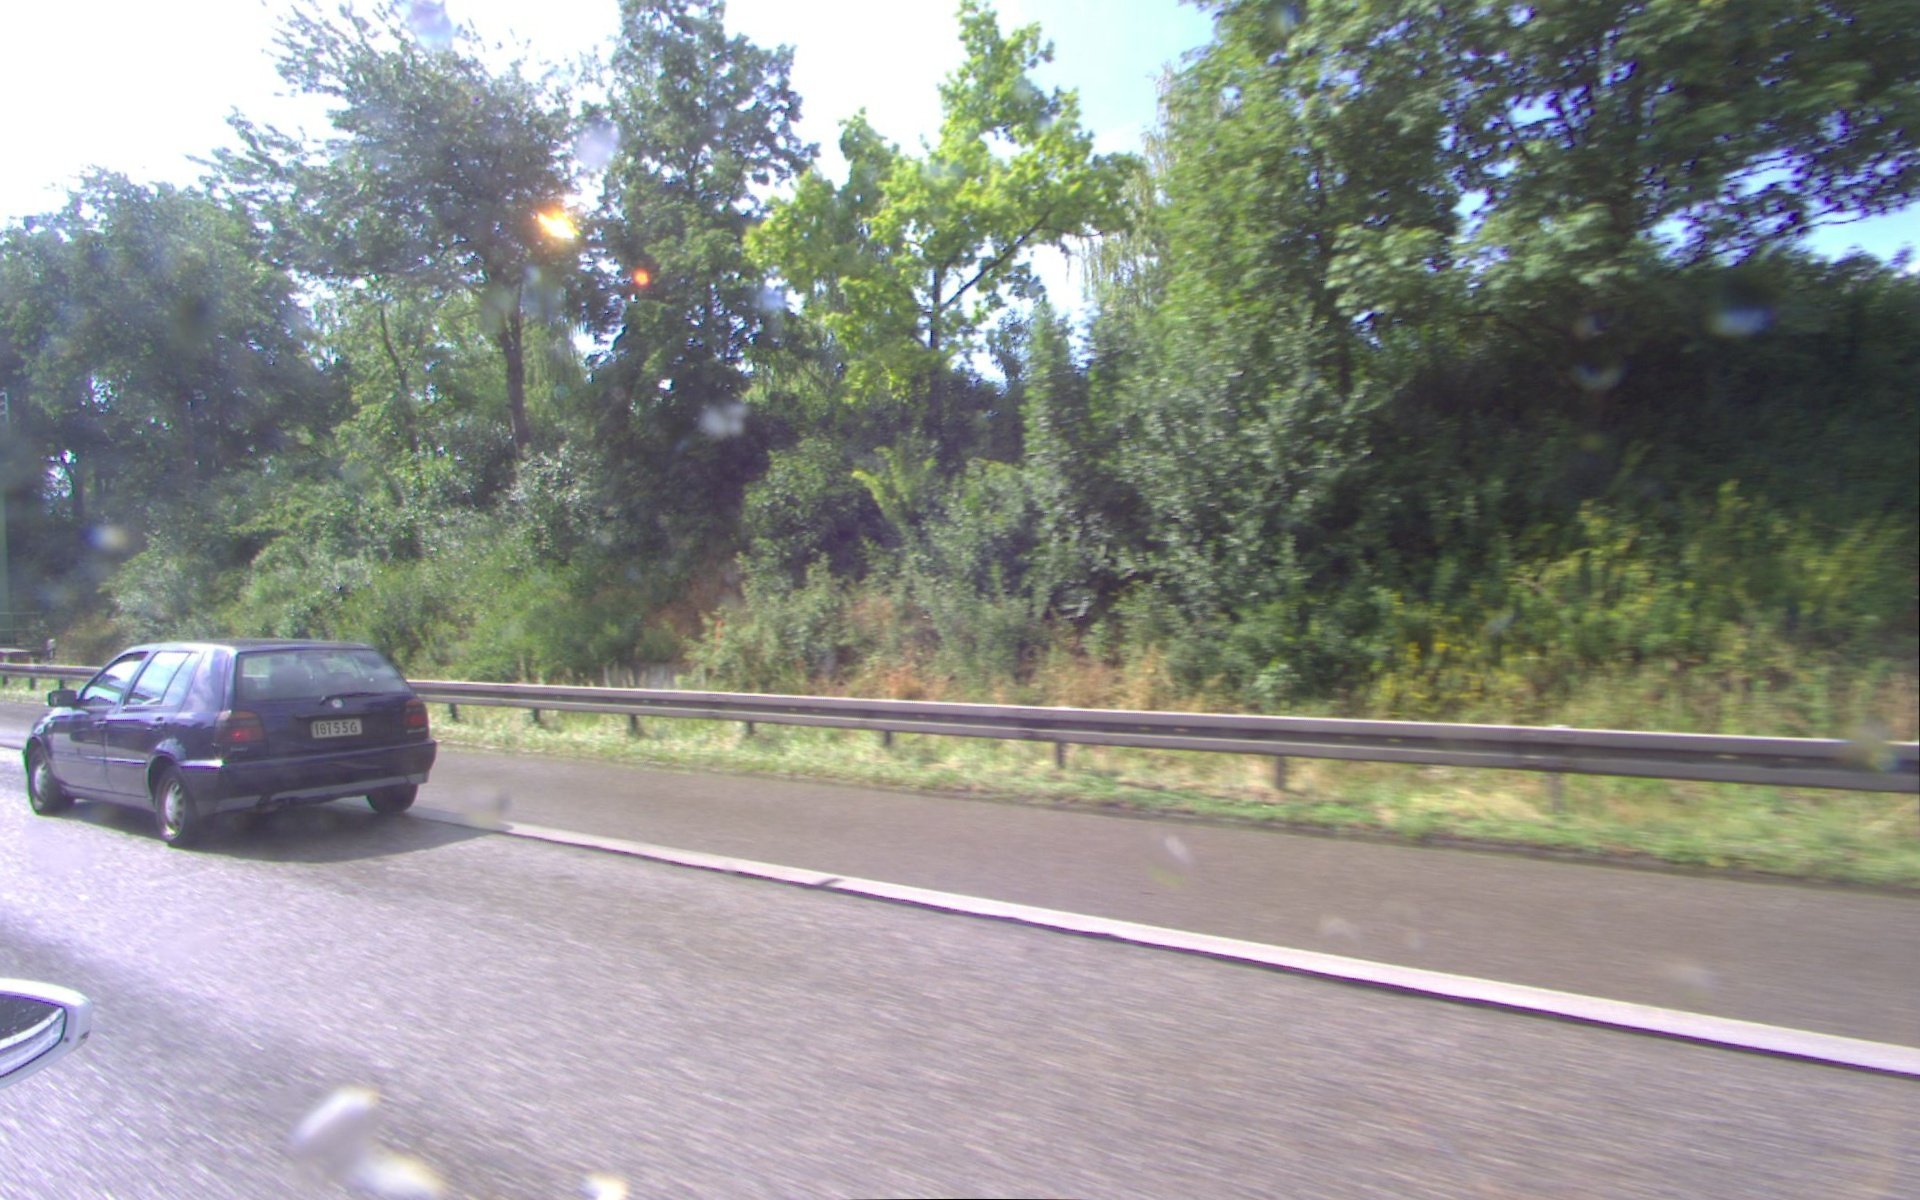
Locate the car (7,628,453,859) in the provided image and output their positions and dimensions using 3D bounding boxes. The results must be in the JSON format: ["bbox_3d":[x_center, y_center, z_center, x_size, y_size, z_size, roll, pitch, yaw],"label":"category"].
[{"bbox_3d":[-5.965,0.970,8.104,3.690,1.475,1.648,-1,-1,31],"label":"car"}]
